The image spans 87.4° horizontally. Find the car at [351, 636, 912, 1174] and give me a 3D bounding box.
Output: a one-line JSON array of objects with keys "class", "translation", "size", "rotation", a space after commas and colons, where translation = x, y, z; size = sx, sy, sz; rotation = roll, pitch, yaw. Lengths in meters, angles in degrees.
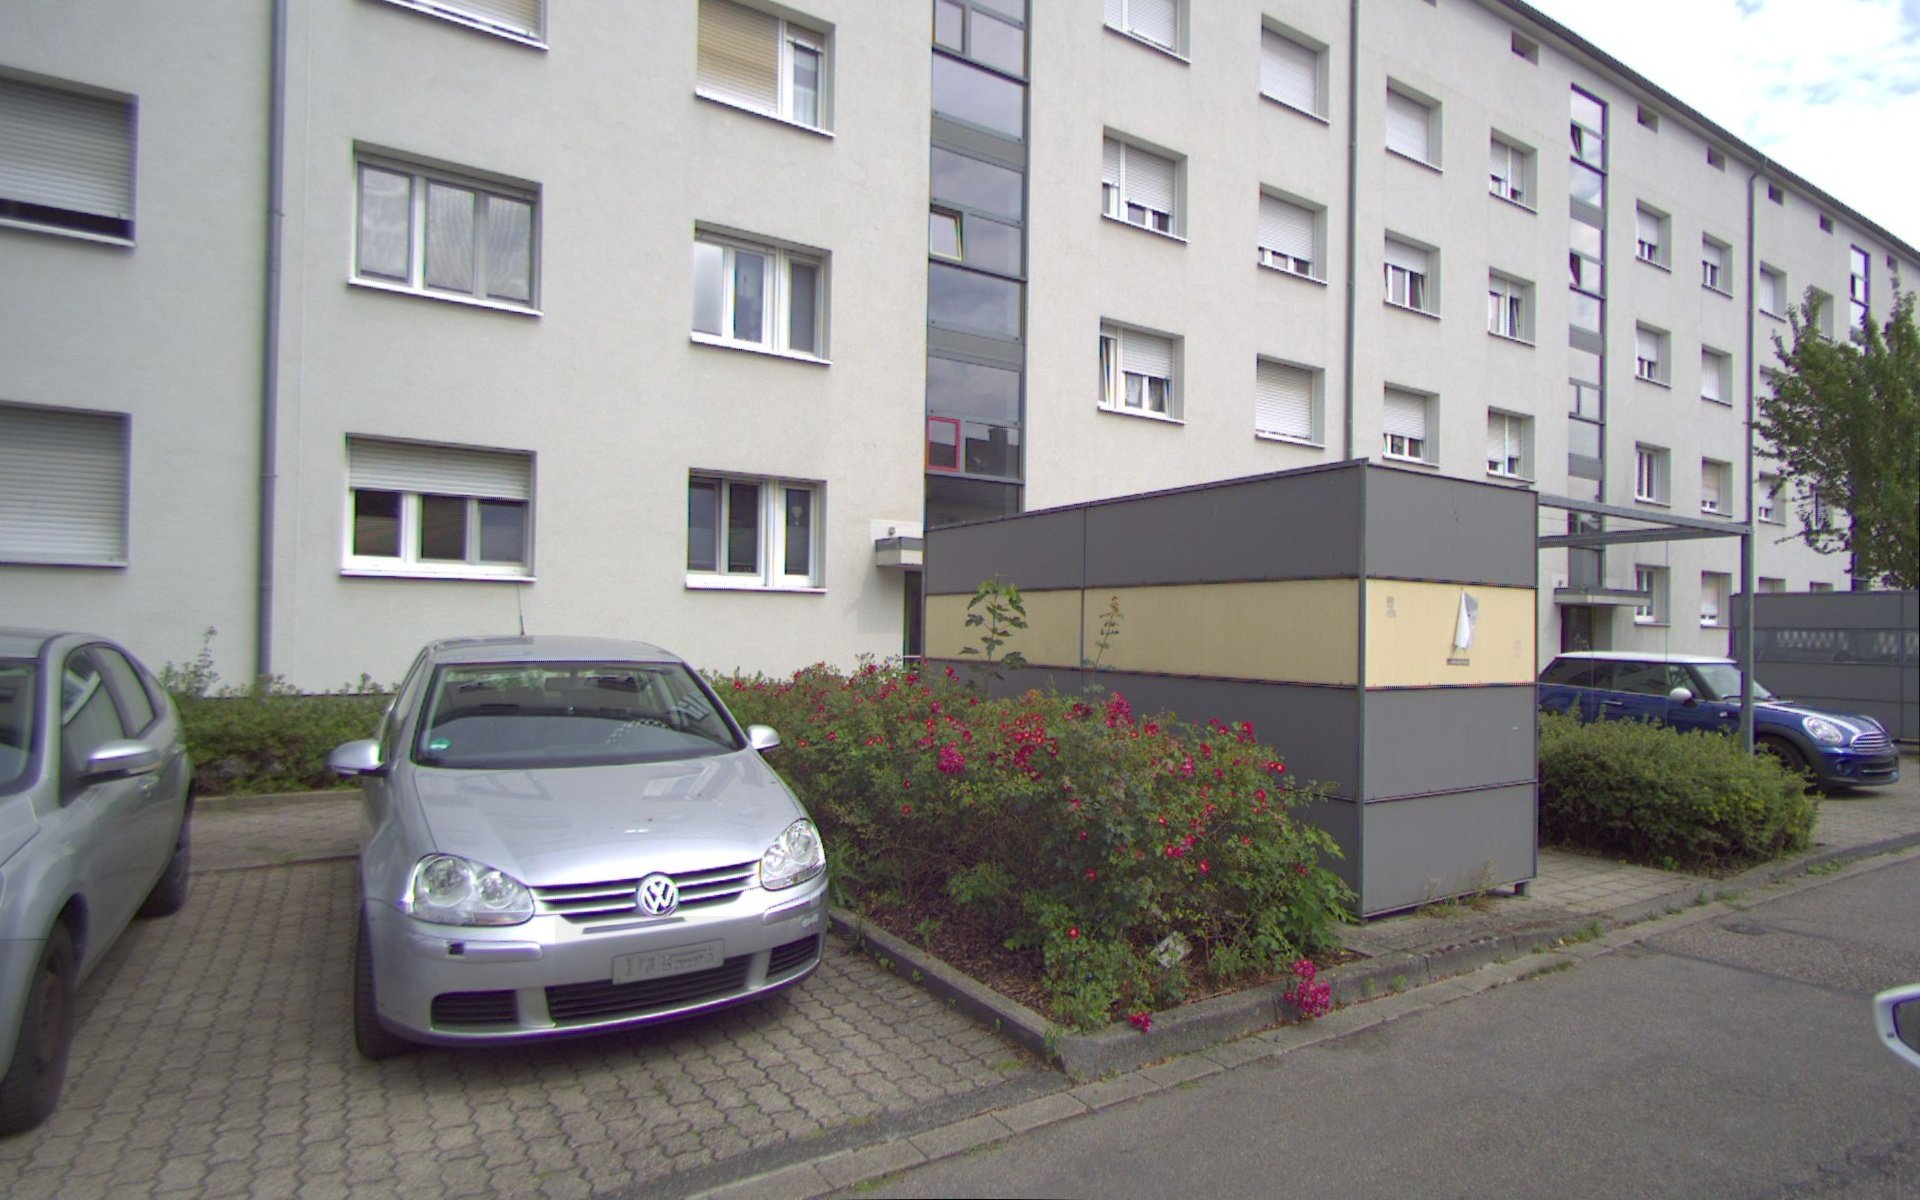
[{"class": "car", "translation": [-1.970, 0.936, 4.990], "size": [1.762, 1.483, 4.031], "rotation": [2, -3, -31]}]

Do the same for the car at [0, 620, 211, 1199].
[{"class": "car", "translation": [-4.085, 0.851, 3.642], "size": [1.762, 1.525, 4.031], "rotation": [2, -3, -31]}]

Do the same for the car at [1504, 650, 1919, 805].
[{"class": "car", "translation": [8.594, 1.343, 11.771], "size": [1.632, 1.480, 3.621], "rotation": [2, -3, -28]}]

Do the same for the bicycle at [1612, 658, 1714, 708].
[{"class": "bicycle", "translation": [15.529, 1.824, 22.233], "size": [1.775, 1.038, 0.479], "rotation": [0, -1, 18]}]
